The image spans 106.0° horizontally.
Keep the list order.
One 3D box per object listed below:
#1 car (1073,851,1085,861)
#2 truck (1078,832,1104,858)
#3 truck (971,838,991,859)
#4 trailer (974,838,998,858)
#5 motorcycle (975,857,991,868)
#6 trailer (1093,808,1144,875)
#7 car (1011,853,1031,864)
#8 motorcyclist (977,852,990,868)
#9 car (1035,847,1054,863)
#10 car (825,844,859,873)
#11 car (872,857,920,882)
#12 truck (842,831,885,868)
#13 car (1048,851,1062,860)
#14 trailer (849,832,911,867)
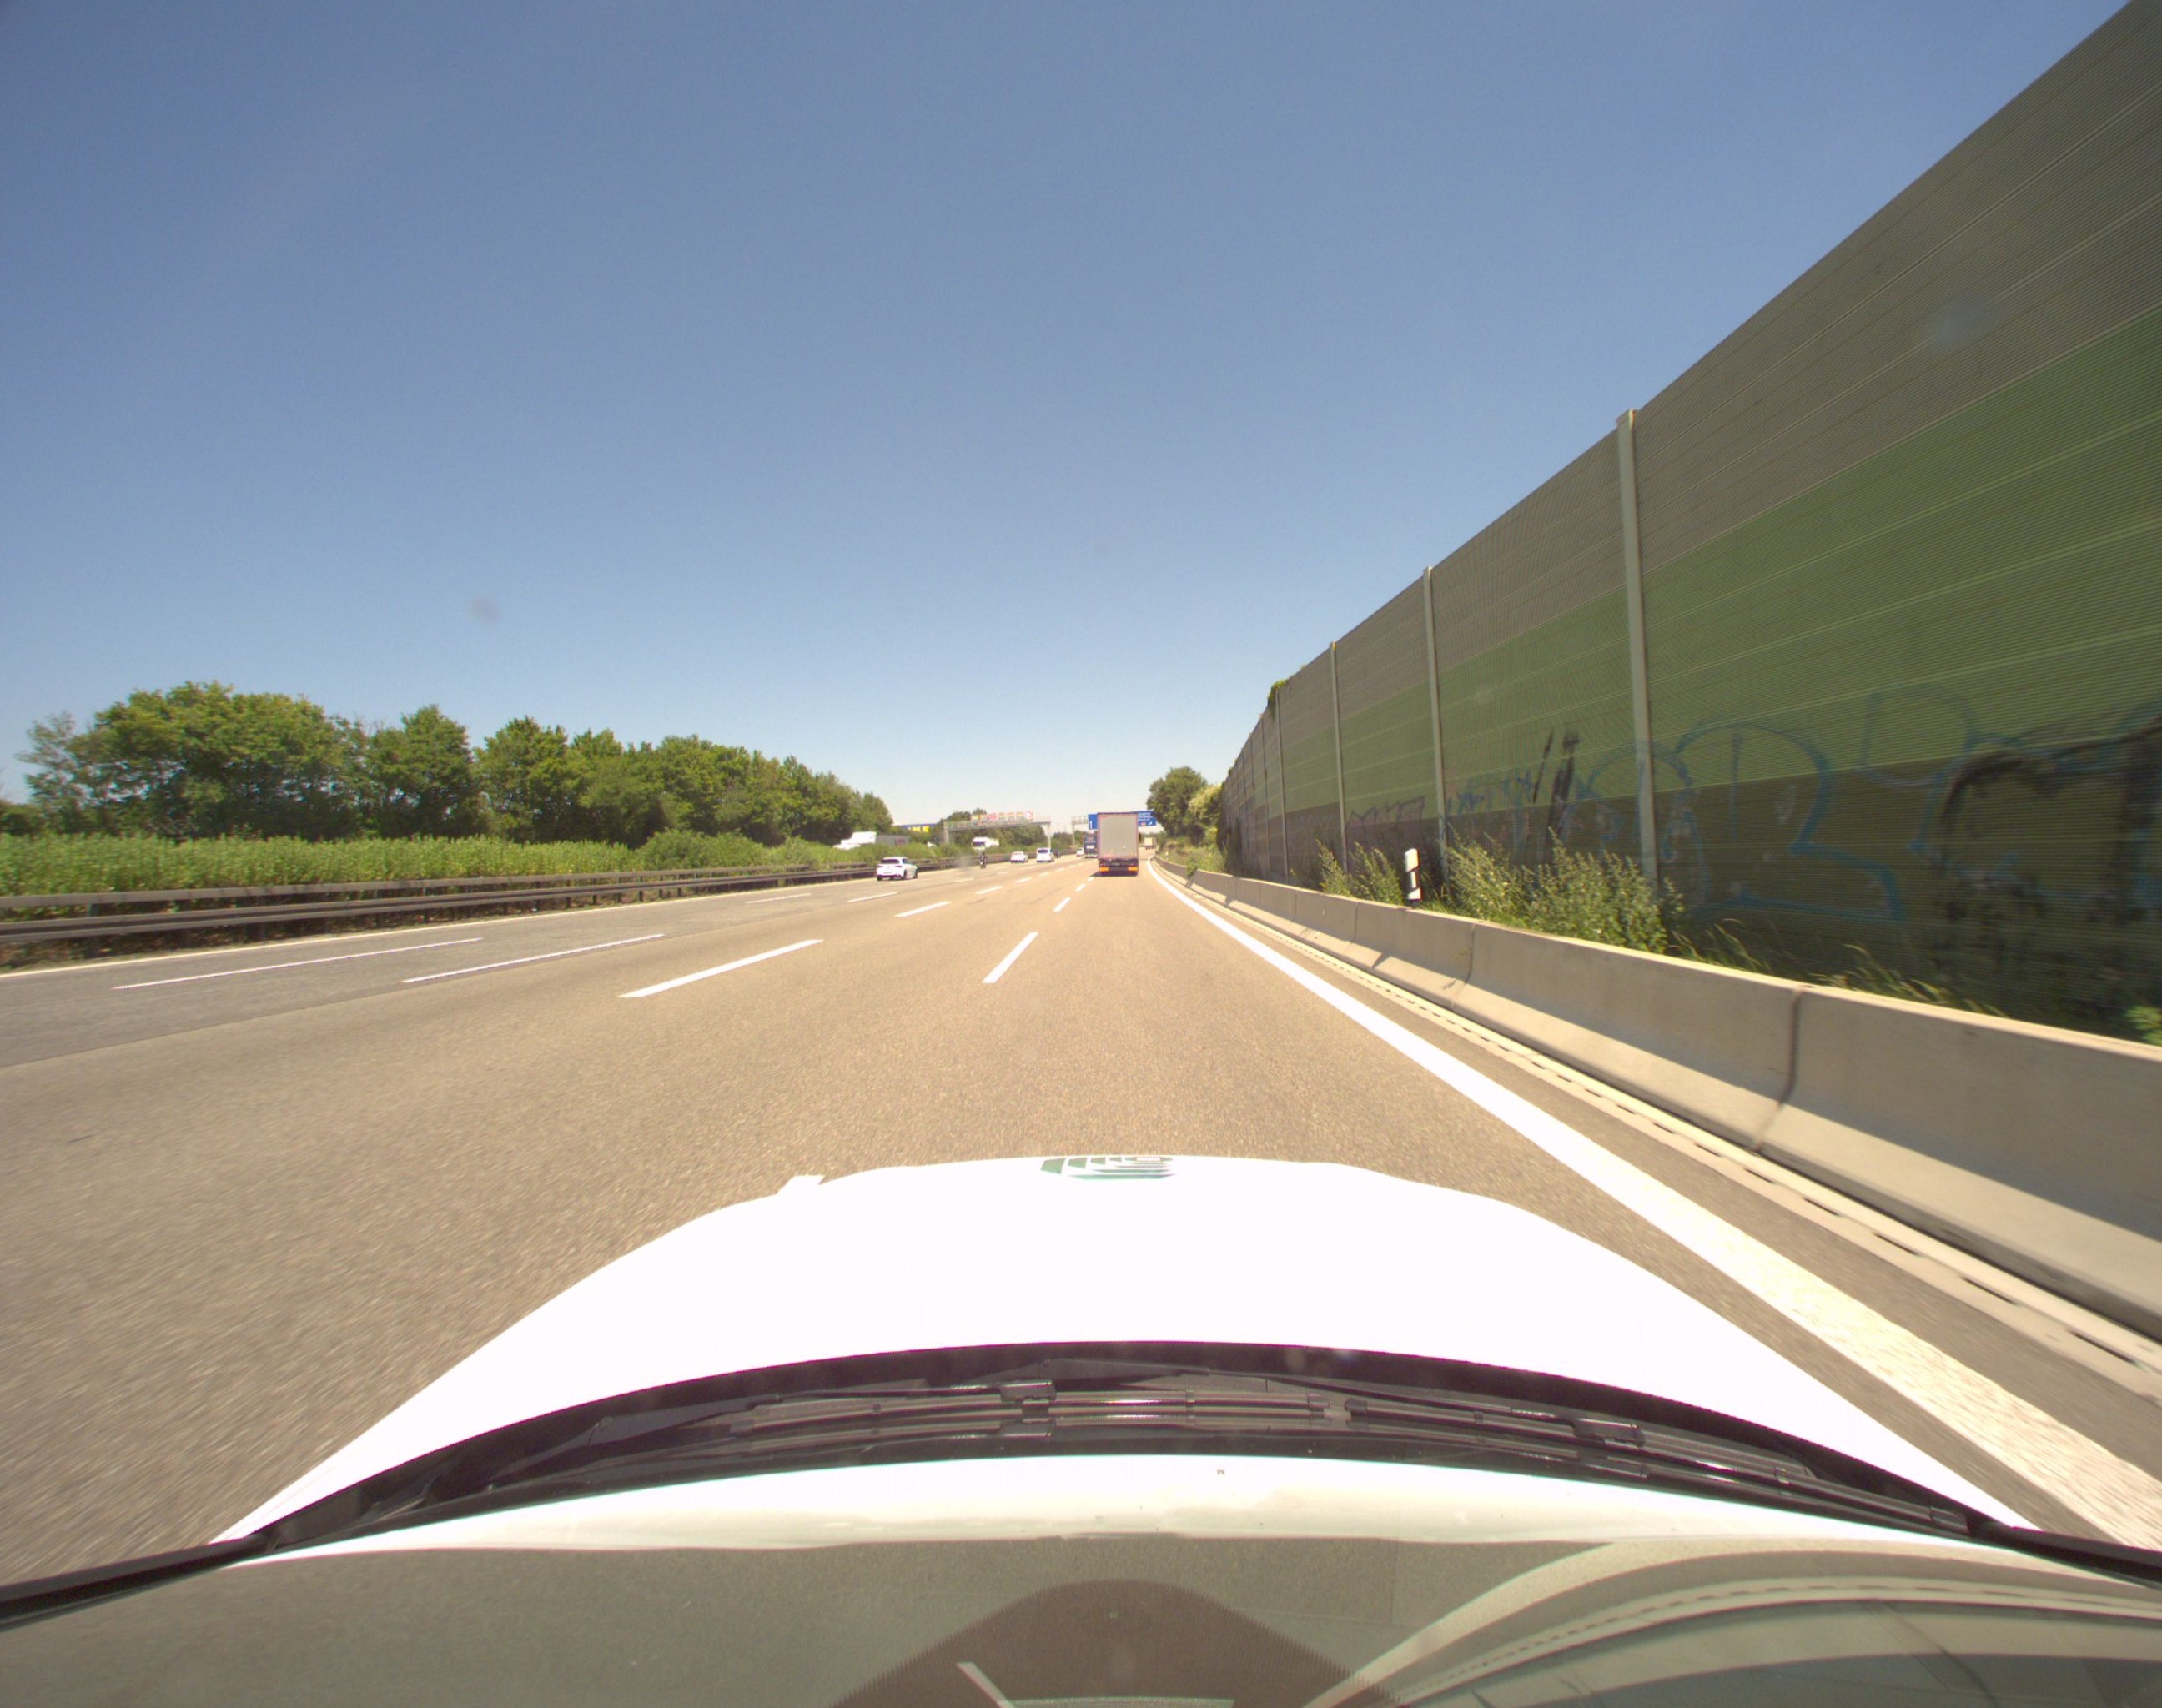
[{"bbox_3d":[-0.298,0.373,157.422,1.896,1.851,4.636,-2,2,4],"label":"car"},{"bbox_3d":[1.937,-1.626,141.811,3.731,4.270,14.510,-1,1,3],"label":"truck"},{"bbox_3d":[-19.138,-1.113,155.927,2.682,3.888,5.753,-1,0,5],"label":"truck"},{"bbox_3d":[-18.693,-1.191,161.151,2.677,3.888,9.747,-1,0,5],"label":"trailer"},{"bbox_3d":[-9.554,0.815,79.776,0.908,1.089,2.854,-2,-1,6],"label":"motorcycle"},{"bbox_3d":[2.502,-0.719,56.049,2.917,4.015,12.042,-2,-1,2],"label":"trailer"},{"bbox_3d":[-7.940,0.630,107.524,1.868,1.440,5.131,-2,-1,4],"label":"car"},{"bbox_3d":[-9.556,0.589,79.762,0.889,1.597,1.301,-2,-1,6],"label":"motorcyclist"},{"bbox_3d":[-4.769,0.115,106.664,1.922,1.851,4.697,-2,0,4],"label":"car"},{"bbox_3d":[-22.984,0.429,78.521,1.833,2.646,4.318,-1,0,1],"label":"car"},{"bbox_3d":[-11.692,0.945,51.694,1.775,1.440,4.672,-2,0,2],"label":"car"},{"bbox_3d":[-25.100,-0.477,94.241,3.318,4.089,4.832,-1,0,3],"label":"truck"},{"bbox_3d":[-4.472,0.312,140.406,1.749,1.408,5.045,-2,1,4],"label":"car"},{"bbox_3d":[-24.703,-0.550,101.184,3.377,4.089,13.939,-1,0,3],"label":"trailer"}]
